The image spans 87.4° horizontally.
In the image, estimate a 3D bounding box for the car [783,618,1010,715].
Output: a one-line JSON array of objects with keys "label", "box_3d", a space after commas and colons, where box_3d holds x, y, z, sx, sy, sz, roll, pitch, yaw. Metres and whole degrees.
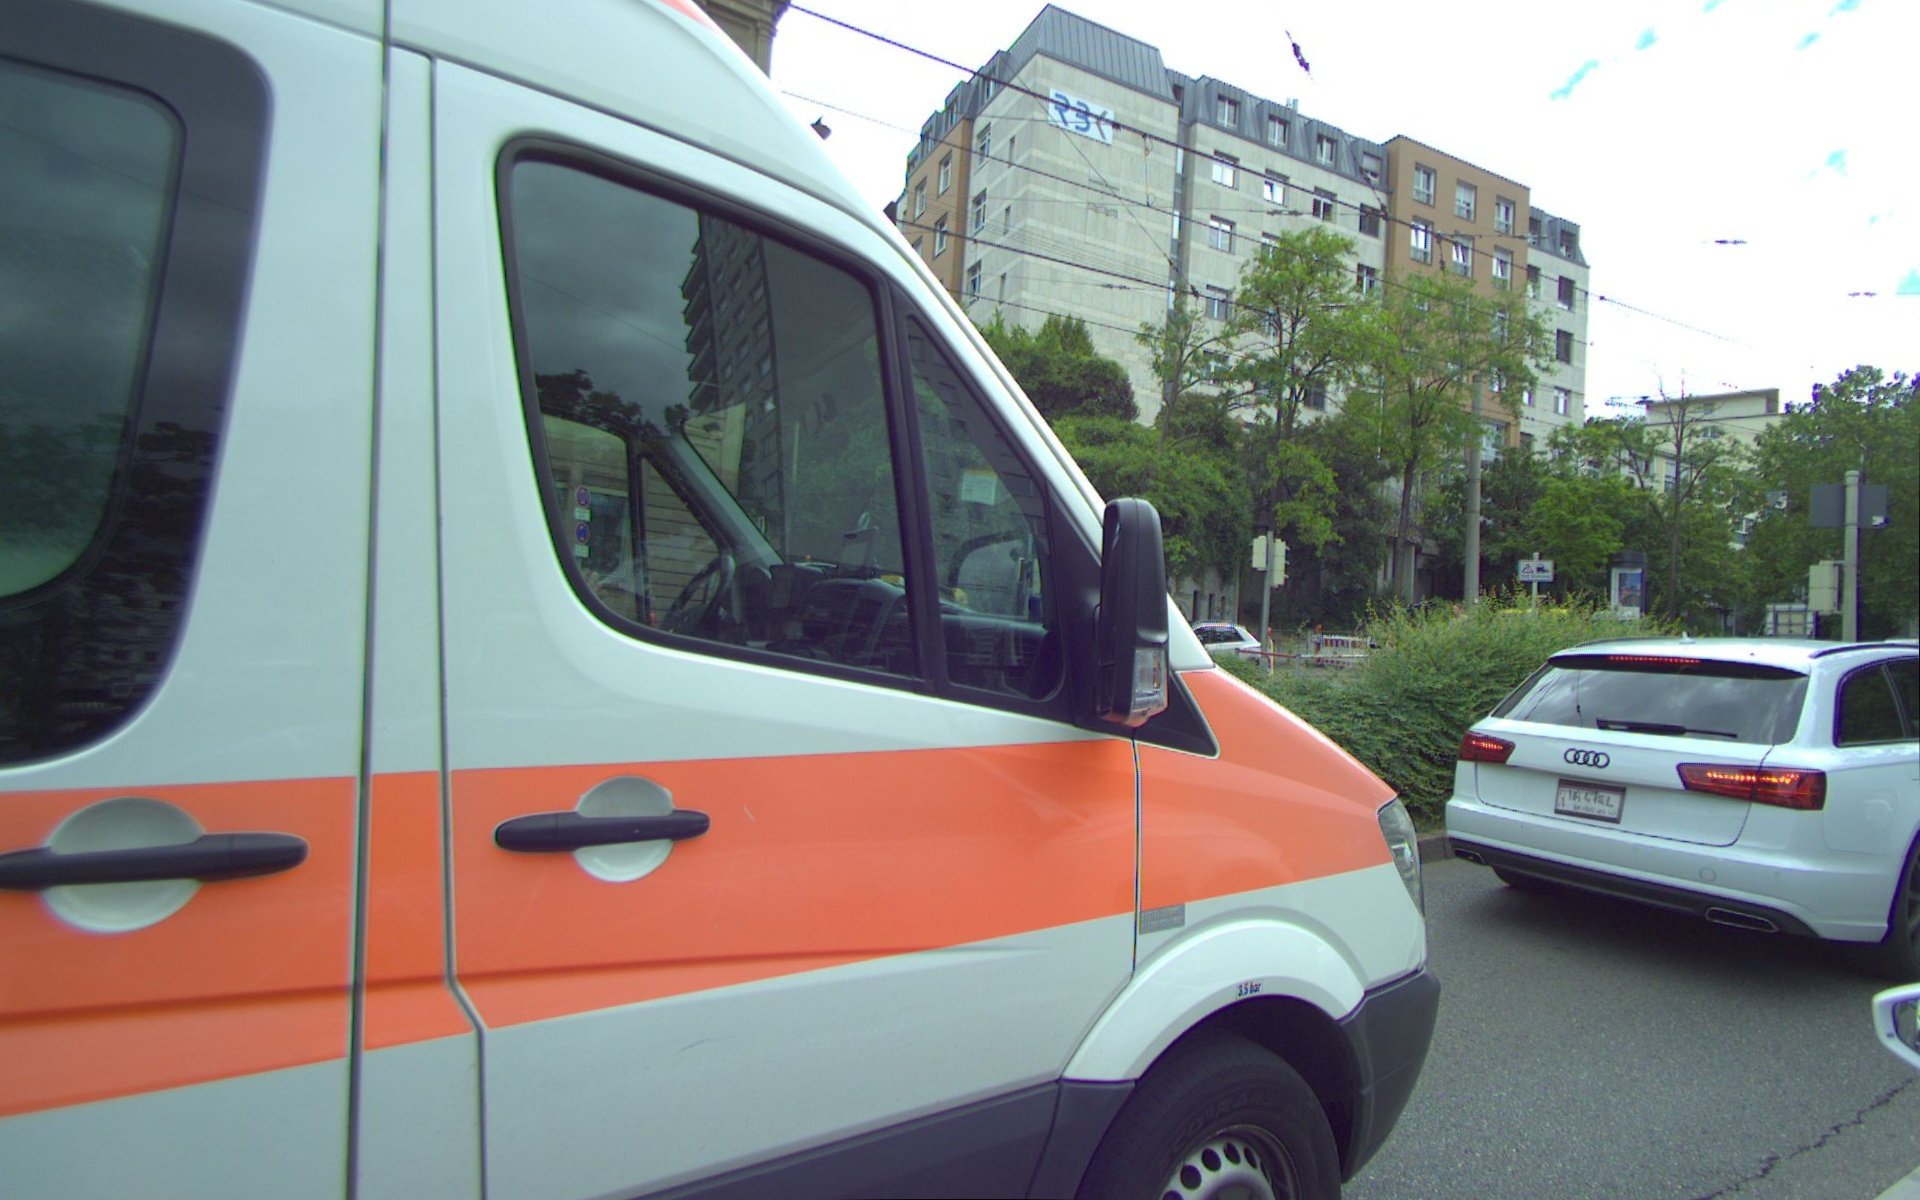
[{"label": "car", "box_3d": [-1.043, 1.066, 17.043, 3.529, 1.473, 1.634, 1, -1, -35]}]

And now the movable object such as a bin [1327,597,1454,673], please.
[{"label": "movable object such as a bin", "box_3d": [14.981, 1.203, 34.948, 4.045, 2.500, 1.926, 1, 0, -27]}]

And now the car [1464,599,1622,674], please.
[{"label": "car", "box_3d": [22.019, 1.386, 37.873, 6.255, 2.628, 2.149, 2, -2, -27]}]

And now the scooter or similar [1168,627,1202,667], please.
[{"label": "scooter or similar", "box_3d": [7.460, 1.546, 33.229, 1.282, 1.307, 0.423, 1, -2, -42]}]

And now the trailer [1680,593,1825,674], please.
[{"label": "trailer", "box_3d": [31.007, 1.328, 39.290, 5.510, 3.013, 2.014, 2, 0, -23]}]

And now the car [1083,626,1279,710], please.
[{"label": "car", "box_3d": [4.610, 1.355, 20.797, 3.956, 1.587, 1.694, 2, -2, -33]}]

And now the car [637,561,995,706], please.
[{"label": "car", "box_3d": [-2.707, 0.688, 20.048, 6.687, 2.468, 2.425, 2, -2, -35]}]

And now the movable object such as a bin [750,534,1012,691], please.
[{"label": "movable object such as a bin", "box_3d": [-1.904, 0.393, 26.174, 6.500, 3.595, 2.722, 2, -2, -42]}]

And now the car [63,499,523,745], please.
[{"label": "car", "box_3d": [-8.543, 0.334, 13.536, 4.713, 2.860, 2.205, 1, -2, -21]}]

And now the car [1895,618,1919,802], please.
[{"label": "car", "box_3d": [10.579, 1.006, 9.182, 4.312, 1.592, 2.026, 2, -2, -33]}]

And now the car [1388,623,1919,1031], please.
[{"label": "car", "box_3d": [4.673, 0.909, 5.648, 4.564, 1.474, 1.870, 2, -2, -31]}]

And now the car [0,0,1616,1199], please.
[{"label": "car", "box_3d": [-1.625, 0.413, 1.522, 5.785, 2.735, 2.024, 2, -1, -30]}]
